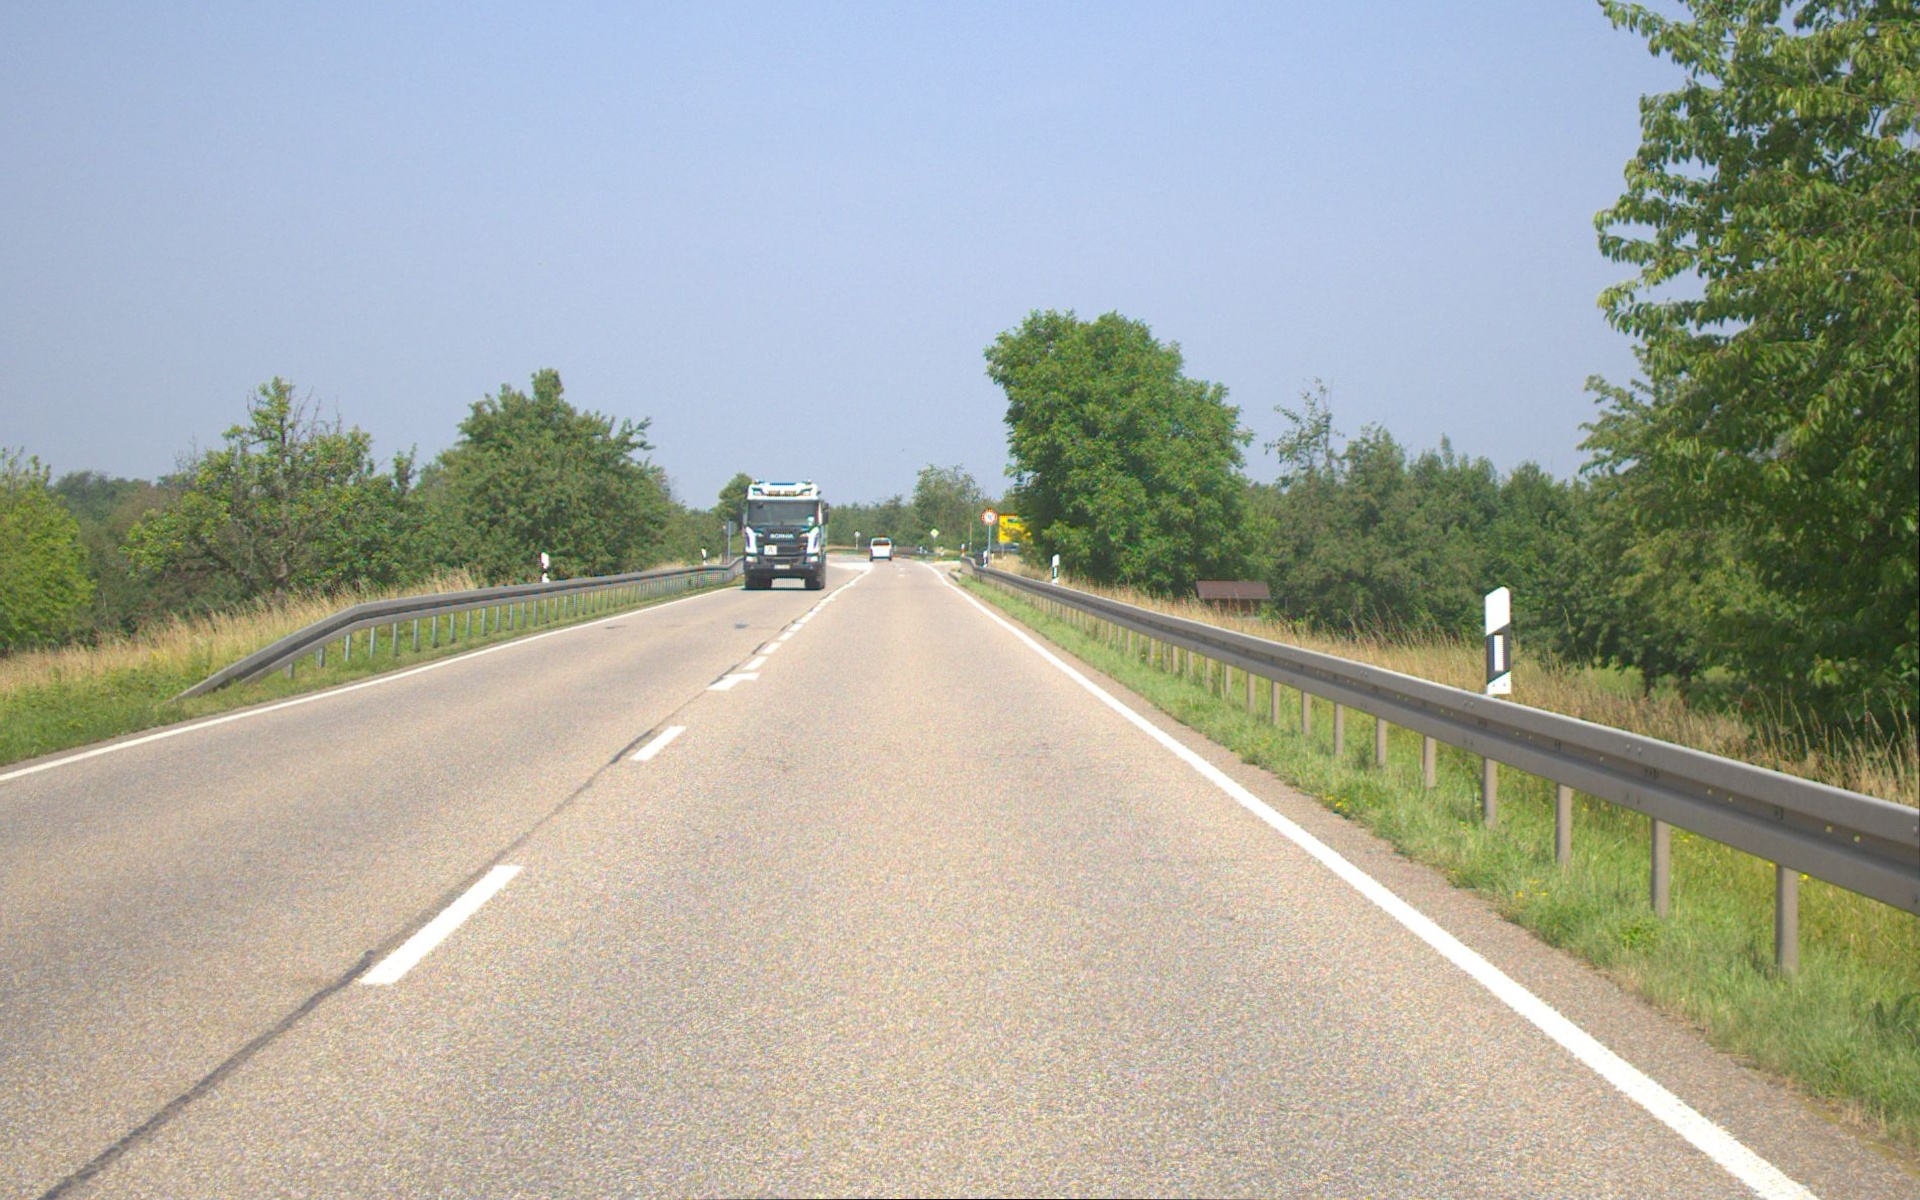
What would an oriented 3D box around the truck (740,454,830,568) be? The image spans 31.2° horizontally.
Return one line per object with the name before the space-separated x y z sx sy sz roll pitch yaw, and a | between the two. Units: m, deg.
truck | -5.792 -2.893 114.905 2.728 3.659 9.384 0 0 -1
